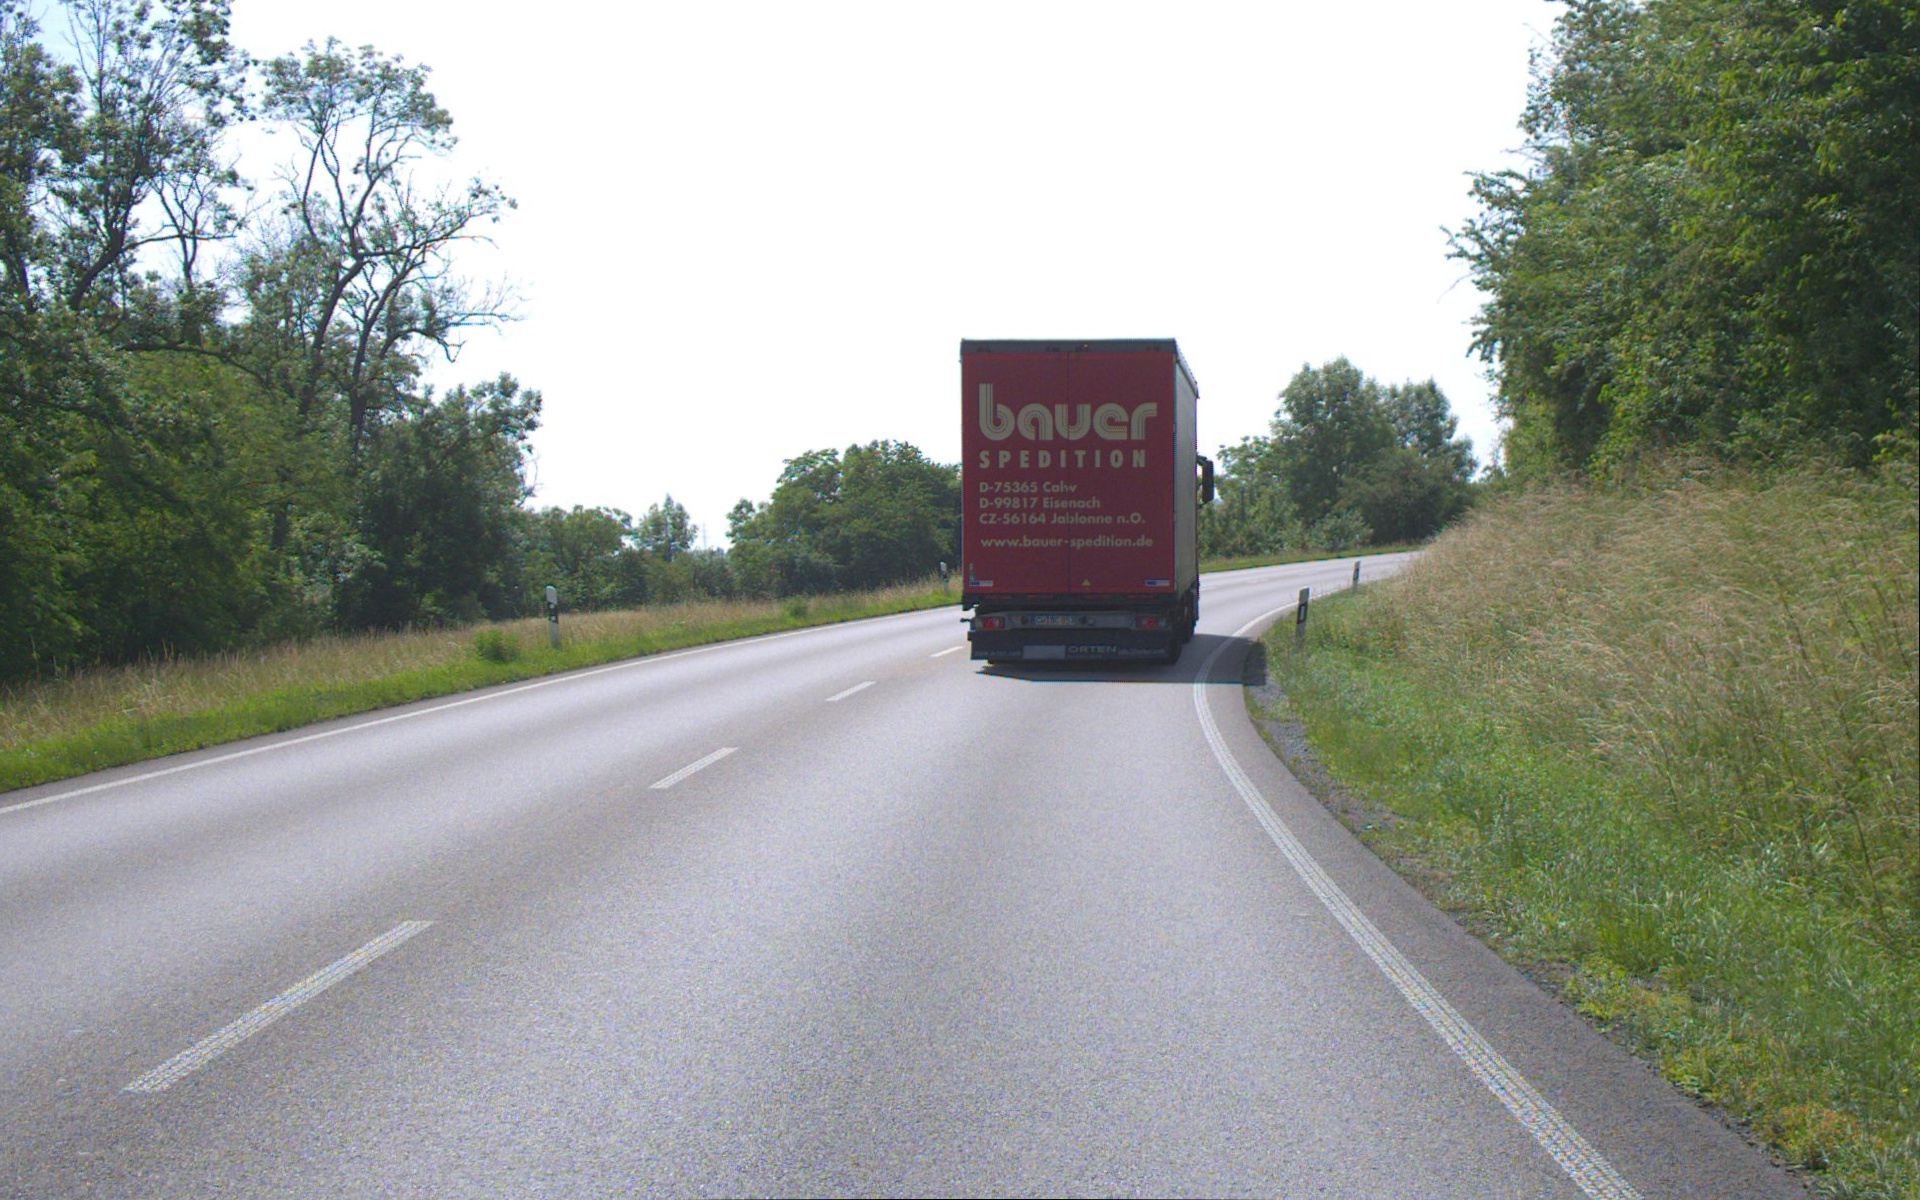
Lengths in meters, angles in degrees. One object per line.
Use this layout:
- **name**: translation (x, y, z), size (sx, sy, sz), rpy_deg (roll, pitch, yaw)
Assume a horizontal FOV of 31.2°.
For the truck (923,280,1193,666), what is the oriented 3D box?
- **truck**: translation (1.544, -1.602, 46.202), size (3.113, 4.490, 12.166), rpy_deg (0, 1, 4)
